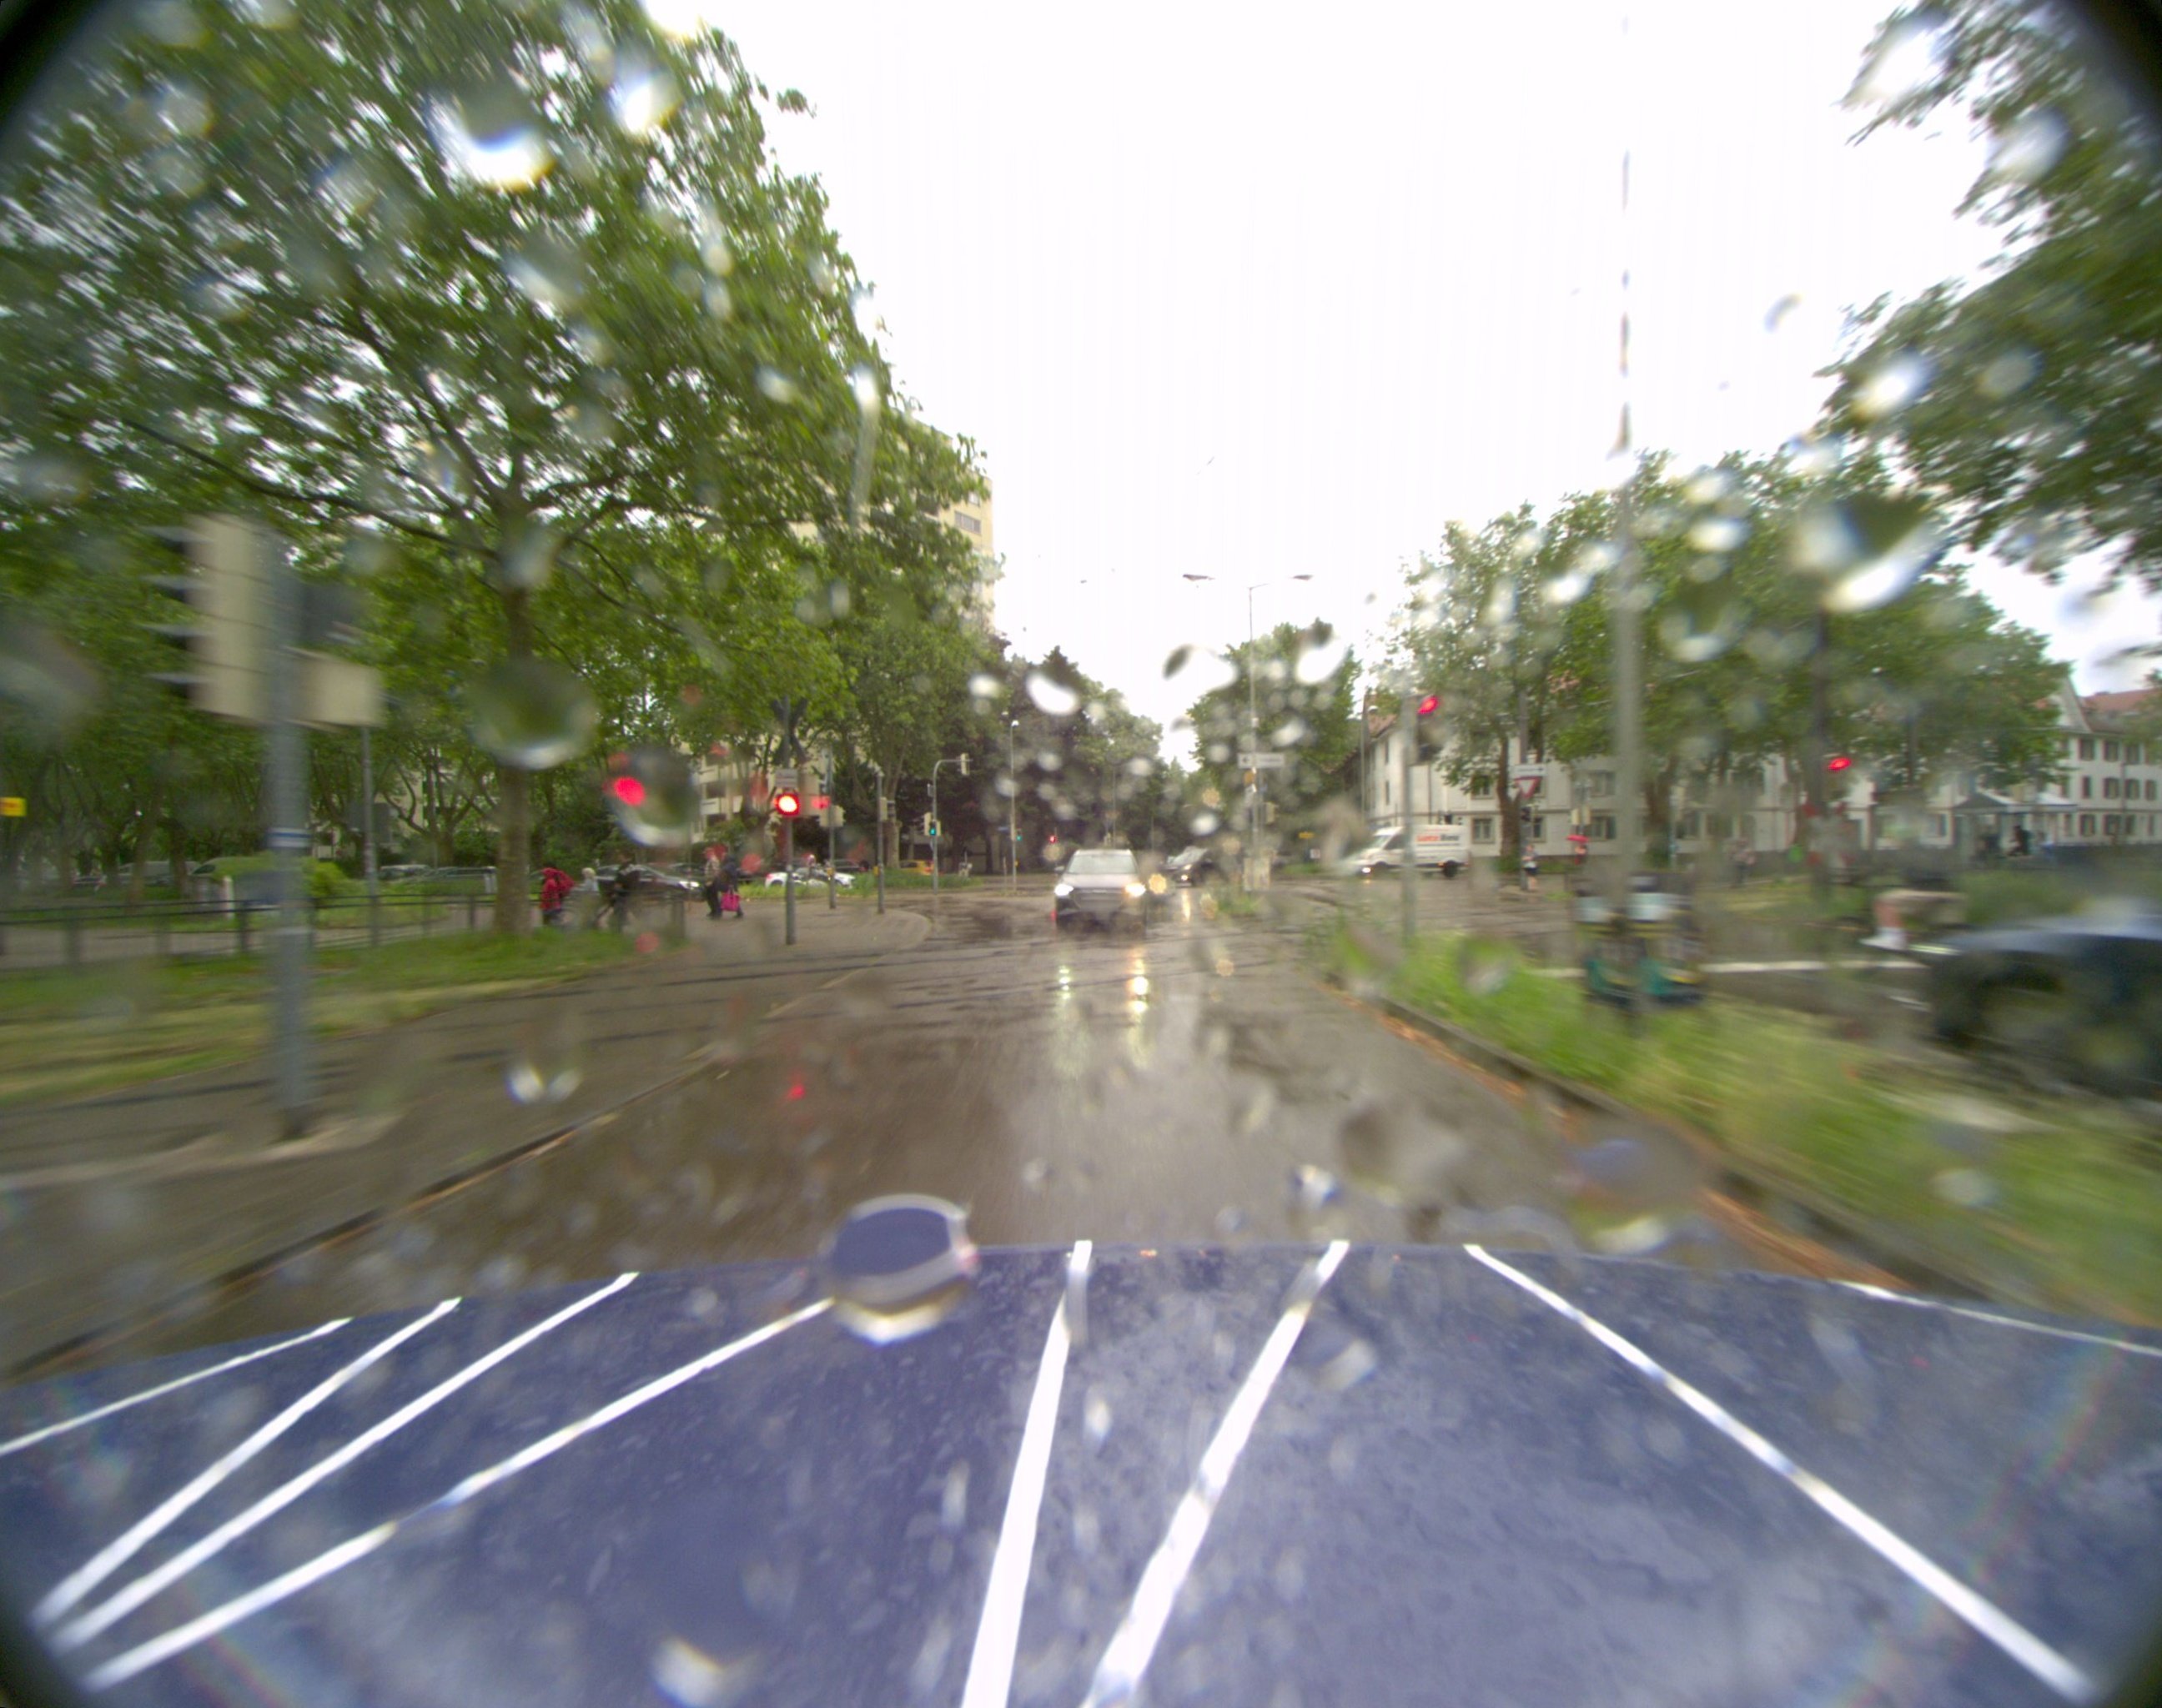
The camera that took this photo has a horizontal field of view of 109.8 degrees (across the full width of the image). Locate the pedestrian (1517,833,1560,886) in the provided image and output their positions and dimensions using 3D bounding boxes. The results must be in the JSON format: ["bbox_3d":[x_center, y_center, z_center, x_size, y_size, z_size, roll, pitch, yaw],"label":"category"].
[{"bbox_3d":[14.881,0.181,24.723,0.849,1.678,0.859,0,1,-17],"label":"pedestrian"}]

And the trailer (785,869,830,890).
[{"bbox_3d":[-11.665,1.094,32.482,1.481,0.837,1.028,-1,0,7],"label":"trailer"}]

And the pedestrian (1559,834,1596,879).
[{"bbox_3d":[19.034,0.090,29.145,0.861,1.678,0.848,0,1,-15],"label":"pedestrian"}]

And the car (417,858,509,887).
[{"bbox_3d":[-38.210,1.111,47.057,1.994,1.645,4.008,-1,0,36],"label":"car"}]

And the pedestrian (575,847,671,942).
[{"bbox_3d":[-9.032,0.769,15.003,1.234,1.778,1.040,-1,1,21],"label":"pedestrian"}]

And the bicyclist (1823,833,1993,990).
[{"bbox_3d":[8.183,0.532,7.566,0.581,1.452,1.011,-1,1,-1],"label":"bicyclist"}]

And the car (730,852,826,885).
[{"bbox_3d":[-16.609,0.791,41.902,1.870,1.654,4.612,-1,0,36],"label":"car"}]

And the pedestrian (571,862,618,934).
[{"bbox_3d":[-10.820,0.965,16.920,0.762,1.539,0.691,-1,1,-22],"label":"pedestrian"}]

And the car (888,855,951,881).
[{"bbox_3d":[-10.314,0.902,48.624,3.456,1.516,1.843,-2,0,8],"label":"car"}]

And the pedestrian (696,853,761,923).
[{"bbox_3d":[-8.749,0.817,18.857,1.053,1.676,0.998,0,1,24],"label":"pedestrian"}]

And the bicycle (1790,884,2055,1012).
[{"bbox_3d":[8.177,0.855,7.531,0.533,1.018,1.874,-1,0,-1],"label":"bicycle"}]

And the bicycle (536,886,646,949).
[{"bbox_3d":[-9.006,1.149,13.999,1.619,1.070,0.445,-1,1,-13],"label":"bicycle"}]

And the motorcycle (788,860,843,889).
[{"bbox_3d":[-11.663,0.908,33.469,2.072,1.207,0.881,-1,0,6],"label":"motorcycle"}]

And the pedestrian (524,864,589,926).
[{"bbox_3d":[-11.951,0.927,17.346,1.010,1.373,0.673,0,1,-9],"label":"pedestrian"}]

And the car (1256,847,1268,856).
[{"bbox_3d":[36.163,-0.481,152.021,1.997,1.795,4.002,-1,0,8],"label":"car"}]

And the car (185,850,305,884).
[{"bbox_3d":[-62.624,0.955,57.083,5.614,2.387,2.229,-1,0,-29],"label":"car"}]

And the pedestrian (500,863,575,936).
[{"bbox_3d":[-11.855,0.973,16.599,1.065,1.517,0.877,-1,1,-15],"label":"pedestrian"}]

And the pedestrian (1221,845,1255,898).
[{"bbox_3d":[4.740,0.509,22.944,0.863,1.572,0.642,0,1,-4],"label":"pedestrian"}]

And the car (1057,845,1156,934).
[{"bbox_3d":[0.490,0.679,16.708,1.809,1.611,4.137,-3,0,0],"label":"car"}]

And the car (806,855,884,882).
[{"bbox_3d":[-15.312,0.934,49.376,4.448,1.598,1.942,-2,0,11],"label":"car"}]

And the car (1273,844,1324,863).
[{"bbox_3d":[21.061,-0.054,73.771,4.663,1.863,2.035,0,0,13],"label":"car"}]

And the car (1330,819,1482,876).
[{"bbox_3d":[15.793,-0.335,37.079,6.510,2.547,2.283,-2,0,-6],"label":"car"}]

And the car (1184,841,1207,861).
[{"bbox_3d":[14.593,-0.336,96.730,2.398,2.461,5.698,0,0,14],"label":"car"}]

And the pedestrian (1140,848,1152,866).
[{"bbox_3d":[6.098,0.280,71.618,0.942,1.651,0.929,0,1,16],"label":"pedestrian"}]

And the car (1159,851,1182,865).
[{"bbox_3d":[9.645,0.388,81.431,1.819,1.451,4.277,-1,0,14],"label":"car"}]

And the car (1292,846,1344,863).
[{"bbox_3d":[20.077,0.045,64.564,3.994,1.346,1.798,-2,0,9],"label":"car"}]

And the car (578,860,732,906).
[{"bbox_3d":[-14.649,0.969,26.272,4.173,1.452,1.995,-1,0,3],"label":"car"}]

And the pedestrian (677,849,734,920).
[{"bbox_3d":[-9.585,0.760,19.402,0.992,1.771,0.813,0,1,13],"label":"pedestrian"}]

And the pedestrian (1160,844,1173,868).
[{"bbox_3d":[7.267,0.150,64.694,0.942,2.050,1.082,0,1,16],"label":"pedestrian"}]

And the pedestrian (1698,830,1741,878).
[{"bbox_3d":[22.984,-0.002,27.343,0.849,1.678,0.859,0,1,-17],"label":"pedestrian"}]

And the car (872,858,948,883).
[{"bbox_3d":[-10.111,0.971,45.152,3.997,1.359,2.000,-2,0,0],"label":"car"}]

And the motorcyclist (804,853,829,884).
[{"bbox_3d":[-11.667,0.632,33.475,0.754,1.343,0.758,-1,0,6],"label":"motorcyclist"}]

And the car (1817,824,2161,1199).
[{"bbox_3d":[5.799,0.654,2.588,2.078,1.672,4.933,-3,-1,6],"label":"car"}]

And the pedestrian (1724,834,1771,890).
[{"bbox_3d":[22.122,0.254,25.225,0.849,1.821,0.859,0,0,-17],"label":"pedestrian"}]

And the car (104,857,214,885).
[{"bbox_3d":[-79.974,1.434,66.069,5.614,2.284,2.228,-1,0,-32],"label":"car"}]

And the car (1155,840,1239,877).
[{"bbox_3d":[4.866,0.155,31.561,1.849,1.435,4.008,0,0,35],"label":"car"}]

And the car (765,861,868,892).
[{"bbox_3d":[-12.530,1.058,36.195,4.168,1.268,1.903,-2,0,1],"label":"car"}]

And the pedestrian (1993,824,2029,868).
[{"bbox_3d":[39.125,-0.318,31.981,0.851,1.815,0.858,-1,1,-45],"label":"pedestrian"}]

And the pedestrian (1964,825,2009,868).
[{"bbox_3d":[38.002,-0.317,31.902,0.859,1.776,0.849,0,1,9],"label":"pedestrian"}]
